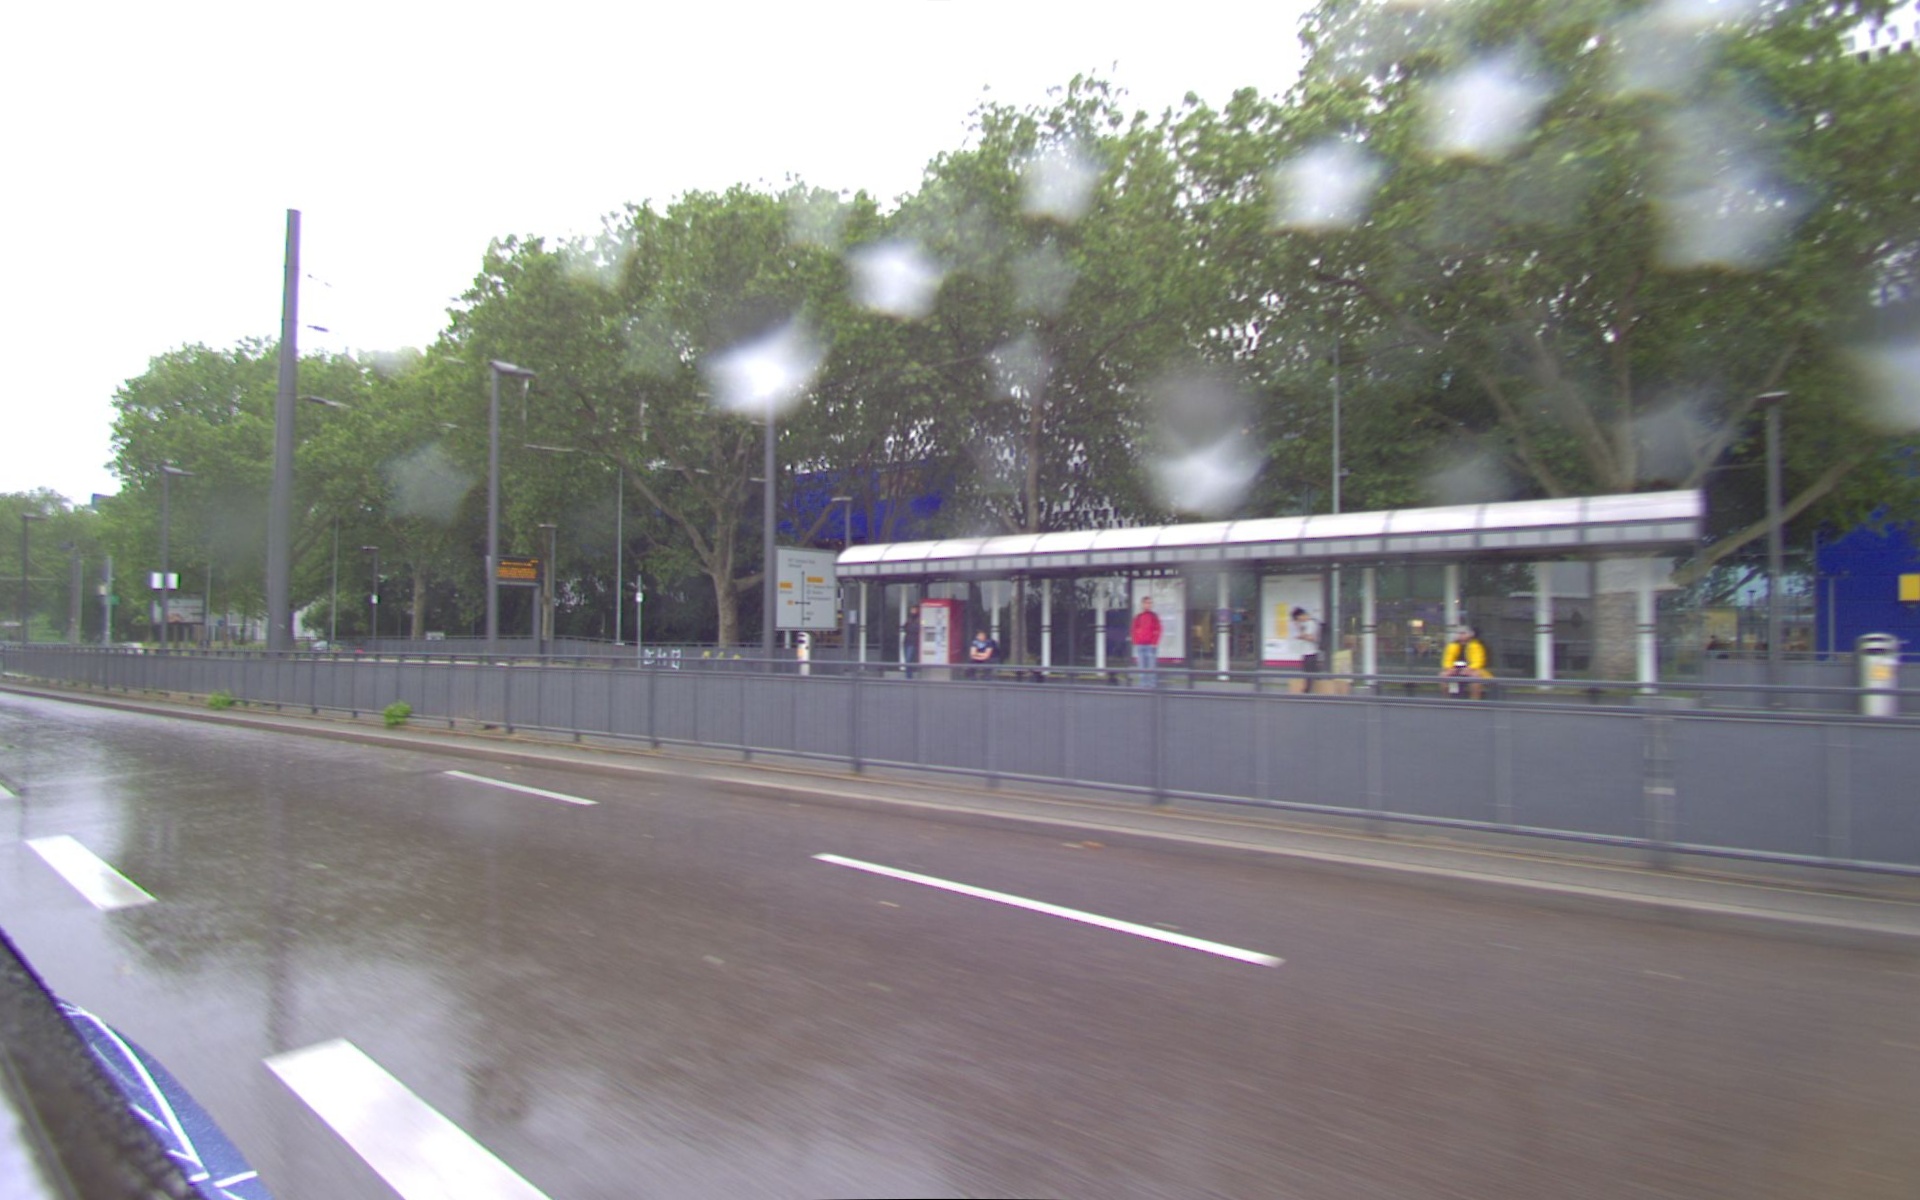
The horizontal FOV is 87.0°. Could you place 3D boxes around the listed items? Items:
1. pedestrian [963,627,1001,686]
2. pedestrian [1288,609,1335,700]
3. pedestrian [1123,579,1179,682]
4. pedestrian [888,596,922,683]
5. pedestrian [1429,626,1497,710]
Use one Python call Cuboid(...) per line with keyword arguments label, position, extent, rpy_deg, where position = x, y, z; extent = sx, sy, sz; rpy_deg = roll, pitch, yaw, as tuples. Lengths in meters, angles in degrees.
Cuboid(label="pedestrian", position=(0.480, 1.238, 22.430), extent=(0.664, 1.277, 0.488), rpy_deg=(-2, -1, 43))
Cuboid(label="pedestrian", position=(6.292, 0.963, 18.127), extent=(0.666, 1.573, 0.824), rpy_deg=(-1, -1, 13))
Cuboid(label="pedestrian", position=(3.692, 0.576, 19.559), extent=(0.814, 1.947, 0.614), rpy_deg=(-2, -1, 43))
Cuboid(label="pedestrian", position=(-1.300, 0.919, 23.875), extent=(0.582, 2.029, 0.488), rpy_deg=(-2, -1, 40))
Cuboid(label="pedestrian", position=(8.208, 1.090, 16.512), extent=(0.814, 1.313, 0.636), rpy_deg=(-2, -1, 43))
